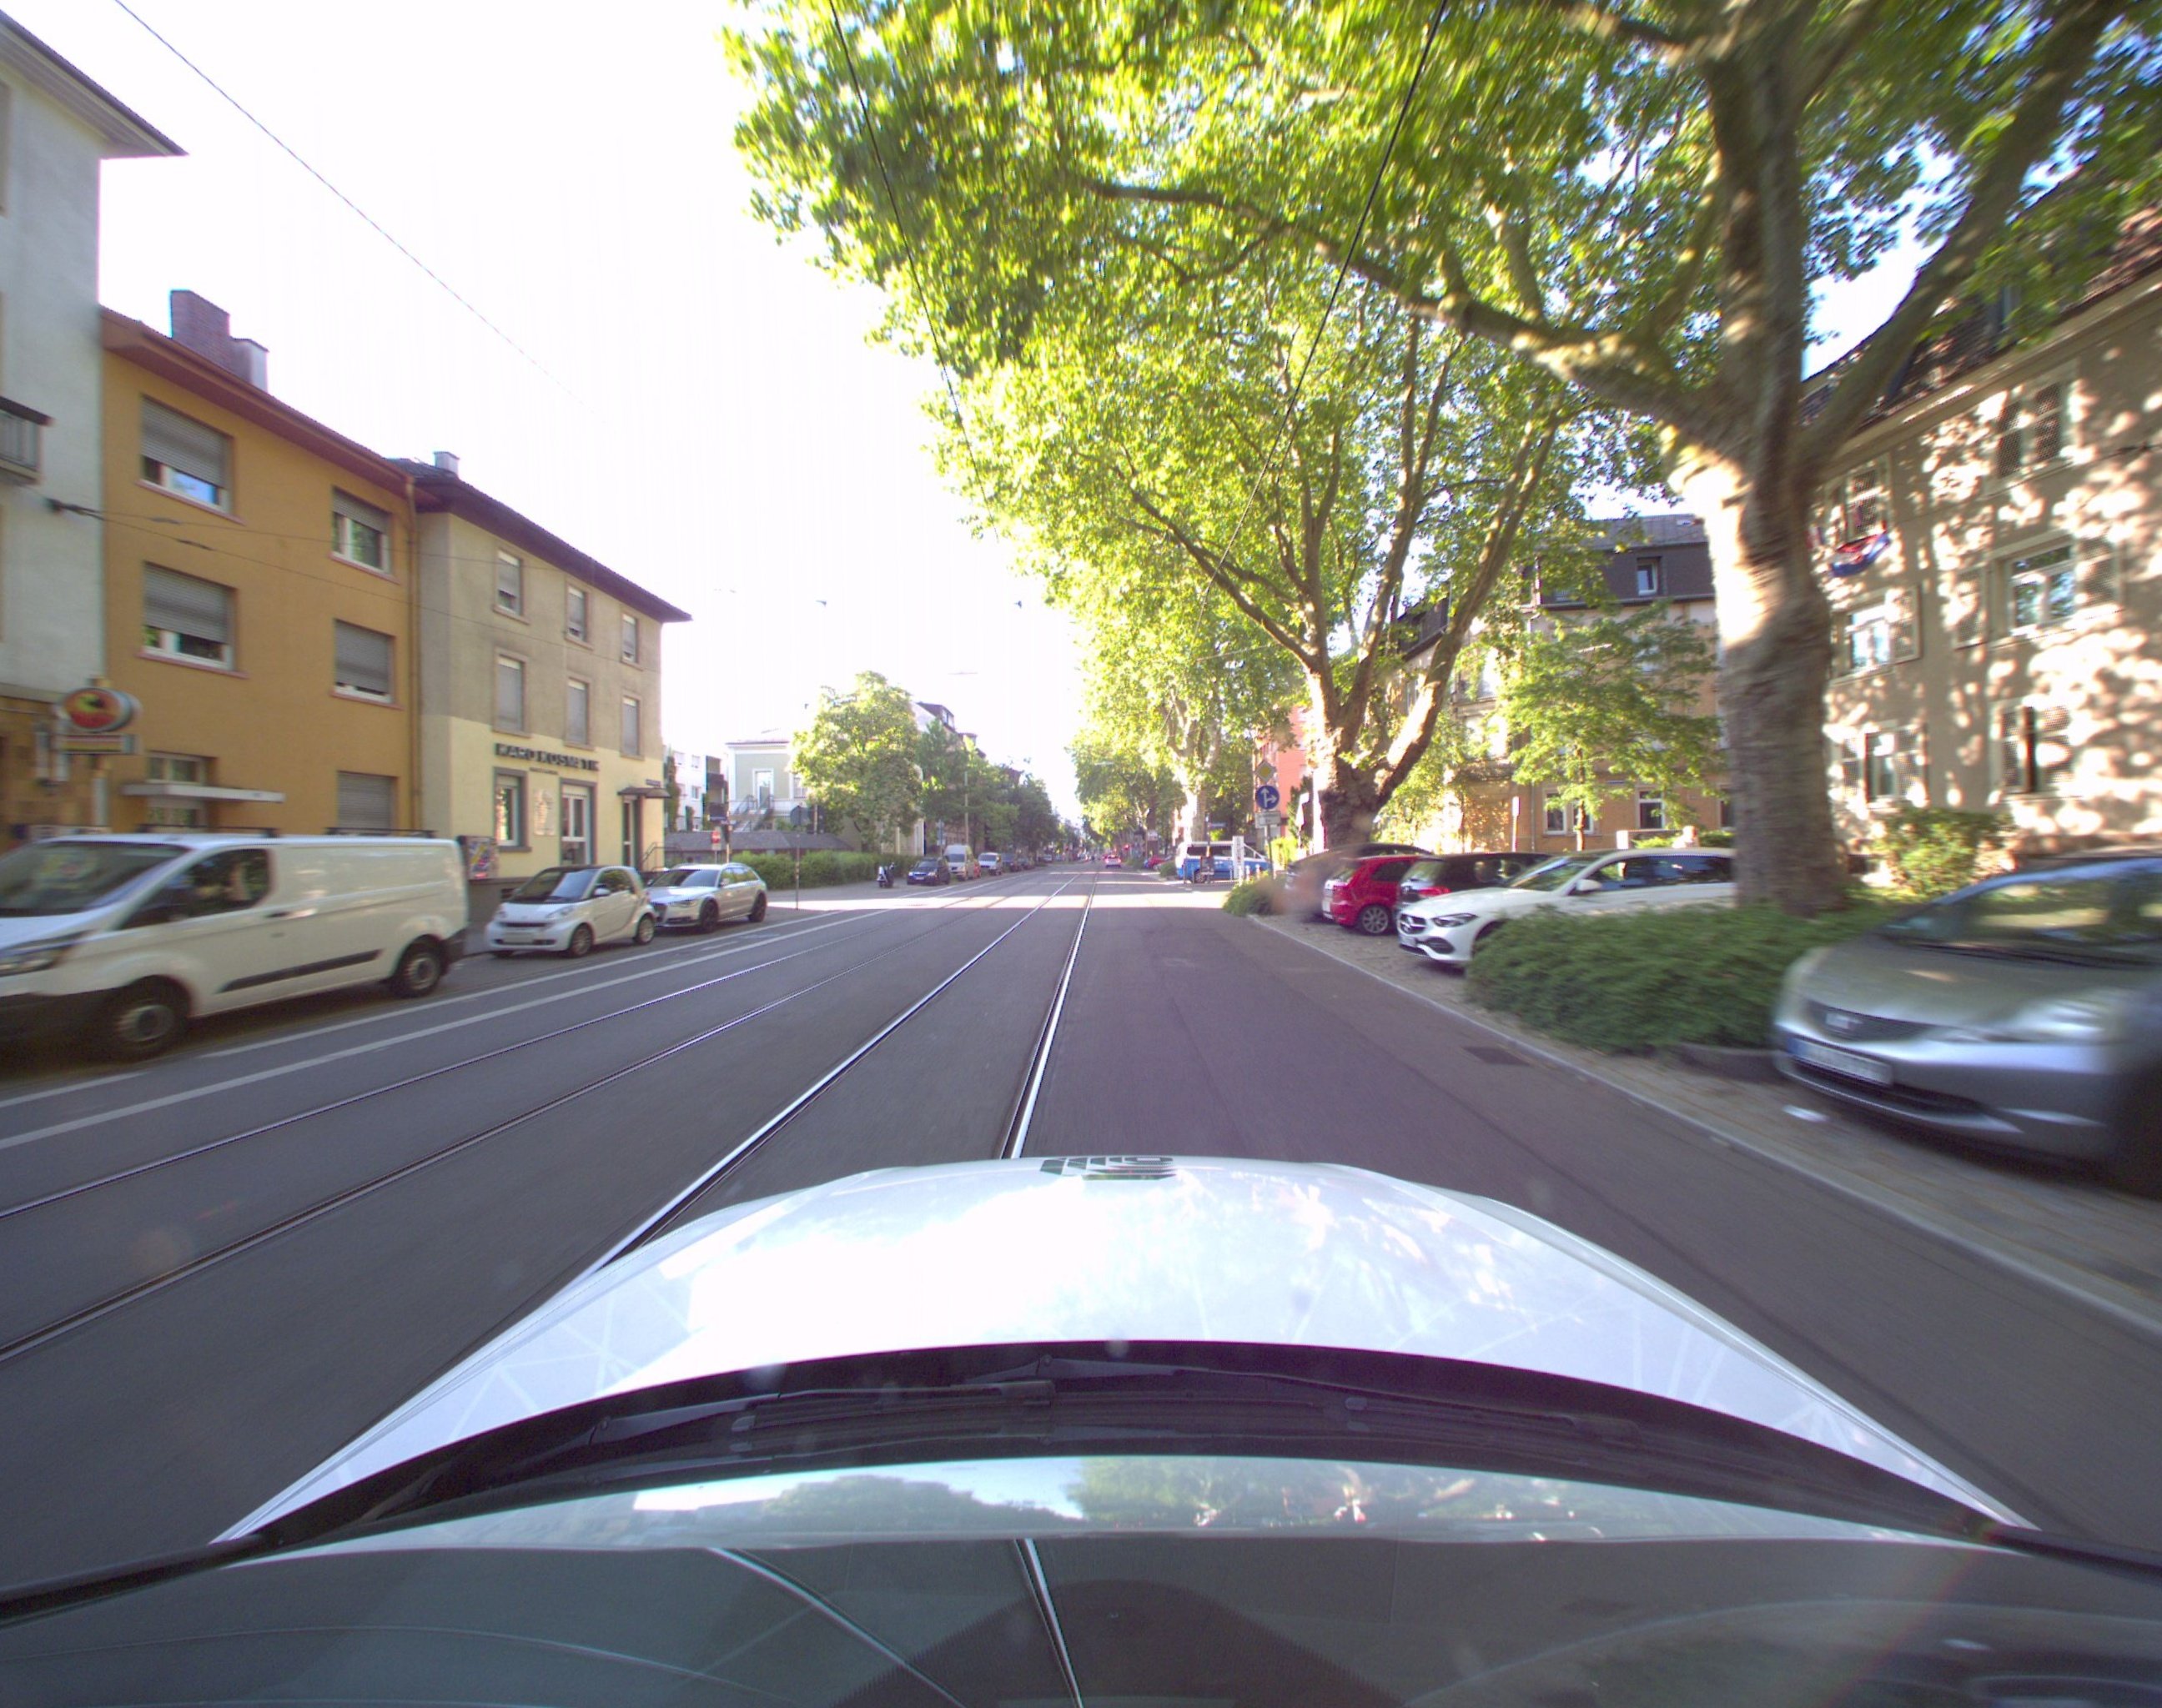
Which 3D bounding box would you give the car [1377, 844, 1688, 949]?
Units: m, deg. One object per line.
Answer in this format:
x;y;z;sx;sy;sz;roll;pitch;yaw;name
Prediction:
6.880;0.614;12.721;3.868;1.435;1.754;-1;0;1;car

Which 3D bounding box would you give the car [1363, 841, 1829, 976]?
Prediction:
6.218;0.622;10.277;4.669;1.446;1.893;-1;0;1;car

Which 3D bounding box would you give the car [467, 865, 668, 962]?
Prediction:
-9.091;0.978;14.719;1.565;1.526;3.043;0;0;3;car

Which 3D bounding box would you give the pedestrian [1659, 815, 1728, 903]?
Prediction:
12.516;0.096;16.664;0.757;1.739;0.821;-1;0;1;pedestrian

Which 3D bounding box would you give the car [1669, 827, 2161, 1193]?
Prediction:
5.810;0.613;4.268;4.126;1.509;1.797;-1;0;1;car

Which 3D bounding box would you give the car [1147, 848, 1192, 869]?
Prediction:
8.202;0.425;75.919;3.972;1.784;2.001;-1;0;1;car

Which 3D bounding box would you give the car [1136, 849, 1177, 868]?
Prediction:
7.540;0.404;81.480;3.972;1.784;2.001;-1;0;1;car

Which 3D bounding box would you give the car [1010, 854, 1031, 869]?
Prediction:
-7.441;0.855;100.637;1.986;1.745;4.660;-1;0;1;car

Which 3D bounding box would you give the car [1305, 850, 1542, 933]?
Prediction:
6.224;0.651;15.148;3.636;1.378;1.890;-1;0;2;car

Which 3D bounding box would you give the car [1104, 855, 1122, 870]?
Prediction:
3.591;0.943;92.521;1.911;1.584;3.792;-3;0;1;car

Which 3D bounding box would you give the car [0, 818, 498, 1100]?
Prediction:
-9.061;0.726;8.644;1.946;2.091;5.247;2;1;-1;car

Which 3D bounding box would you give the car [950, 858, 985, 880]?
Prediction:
-8.463;1.087;60.984;1.870;1.460;4.208;-1;0;1;car

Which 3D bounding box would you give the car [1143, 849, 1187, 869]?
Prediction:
8.046;0.446;78.206;3.972;1.784;2.001;-1;0;1;car

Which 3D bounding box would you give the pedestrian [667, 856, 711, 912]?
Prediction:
-11.488;0.866;23.882;0.784;1.592;0.942;-1;0;1;pedestrian

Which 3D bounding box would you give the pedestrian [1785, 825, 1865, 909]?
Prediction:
13.331;0.225;14.613;0.659;1.455;0.821;-1;0;1;pedestrian

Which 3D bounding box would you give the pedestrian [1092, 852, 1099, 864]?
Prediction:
2.422;0.691;137.856;1.043;2.013;1.083;-1;0;4;pedestrian

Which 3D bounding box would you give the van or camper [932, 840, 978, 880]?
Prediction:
-8.519;0.408;55.620;2.071;2.533;5.319;-1;0;2;van or camper

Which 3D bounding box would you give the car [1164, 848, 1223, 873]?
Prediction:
7.959;0.462;57.838;3.972;1.609;2.001;-1;0;1;car

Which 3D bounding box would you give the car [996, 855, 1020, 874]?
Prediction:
-7.599;1.112;84.707;1.986;1.861;4.180;-1;0;1;car

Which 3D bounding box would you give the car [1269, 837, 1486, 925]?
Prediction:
6.196;0.540;17.373;3.911;1.670;1.960;-1;0;-1;car

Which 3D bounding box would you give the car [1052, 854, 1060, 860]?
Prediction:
-6.264;0.828;203.347;1.912;1.419;3.589;-1;0;-1;car

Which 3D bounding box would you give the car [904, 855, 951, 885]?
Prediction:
-8.659;0.877;46.383;1.781;1.587;4.344;2;0;0;car

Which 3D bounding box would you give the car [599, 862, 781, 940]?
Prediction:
-8.940;0.985;19.215;1.830;1.468;5.068;2;0;-1;car

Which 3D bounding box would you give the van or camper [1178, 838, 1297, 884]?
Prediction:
7.845;0.313;41.273;5.543;2.013;2.242;-2;3;-4;van or camper

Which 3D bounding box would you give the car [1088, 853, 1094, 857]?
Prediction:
3.091;0.344;254.877;1.630;1.419;3.589;-1;0;-1;car

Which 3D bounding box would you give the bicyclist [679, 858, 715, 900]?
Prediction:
-16.004;1.014;33.971;1.045;1.705;1.055;-1;0;-8;bicyclist

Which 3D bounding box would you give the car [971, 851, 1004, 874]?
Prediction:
-8.030;0.721;70.295;2.165;1.861;4.660;-1;0;1;car

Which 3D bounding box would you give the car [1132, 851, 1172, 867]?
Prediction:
7.295;0.528;83.791;3.972;1.521;2.001;-1;0;1;car

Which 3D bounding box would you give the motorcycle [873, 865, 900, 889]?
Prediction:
-10.090;1.178;42.293;0.760;1.107;2.331;-1;2;2;motorcycle

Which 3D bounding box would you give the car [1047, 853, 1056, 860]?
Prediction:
-6.632;0.540;185.520;1.914;1.419;3.586;-3;-1;-4;car

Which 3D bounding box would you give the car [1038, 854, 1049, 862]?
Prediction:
-6.875;0.723;148.842;1.912;1.419;3.719;-1;0;-1;car

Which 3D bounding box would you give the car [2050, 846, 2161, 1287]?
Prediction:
5.658;0.653;1.989;4.281;1.439;1.948;-1;0;0;car
